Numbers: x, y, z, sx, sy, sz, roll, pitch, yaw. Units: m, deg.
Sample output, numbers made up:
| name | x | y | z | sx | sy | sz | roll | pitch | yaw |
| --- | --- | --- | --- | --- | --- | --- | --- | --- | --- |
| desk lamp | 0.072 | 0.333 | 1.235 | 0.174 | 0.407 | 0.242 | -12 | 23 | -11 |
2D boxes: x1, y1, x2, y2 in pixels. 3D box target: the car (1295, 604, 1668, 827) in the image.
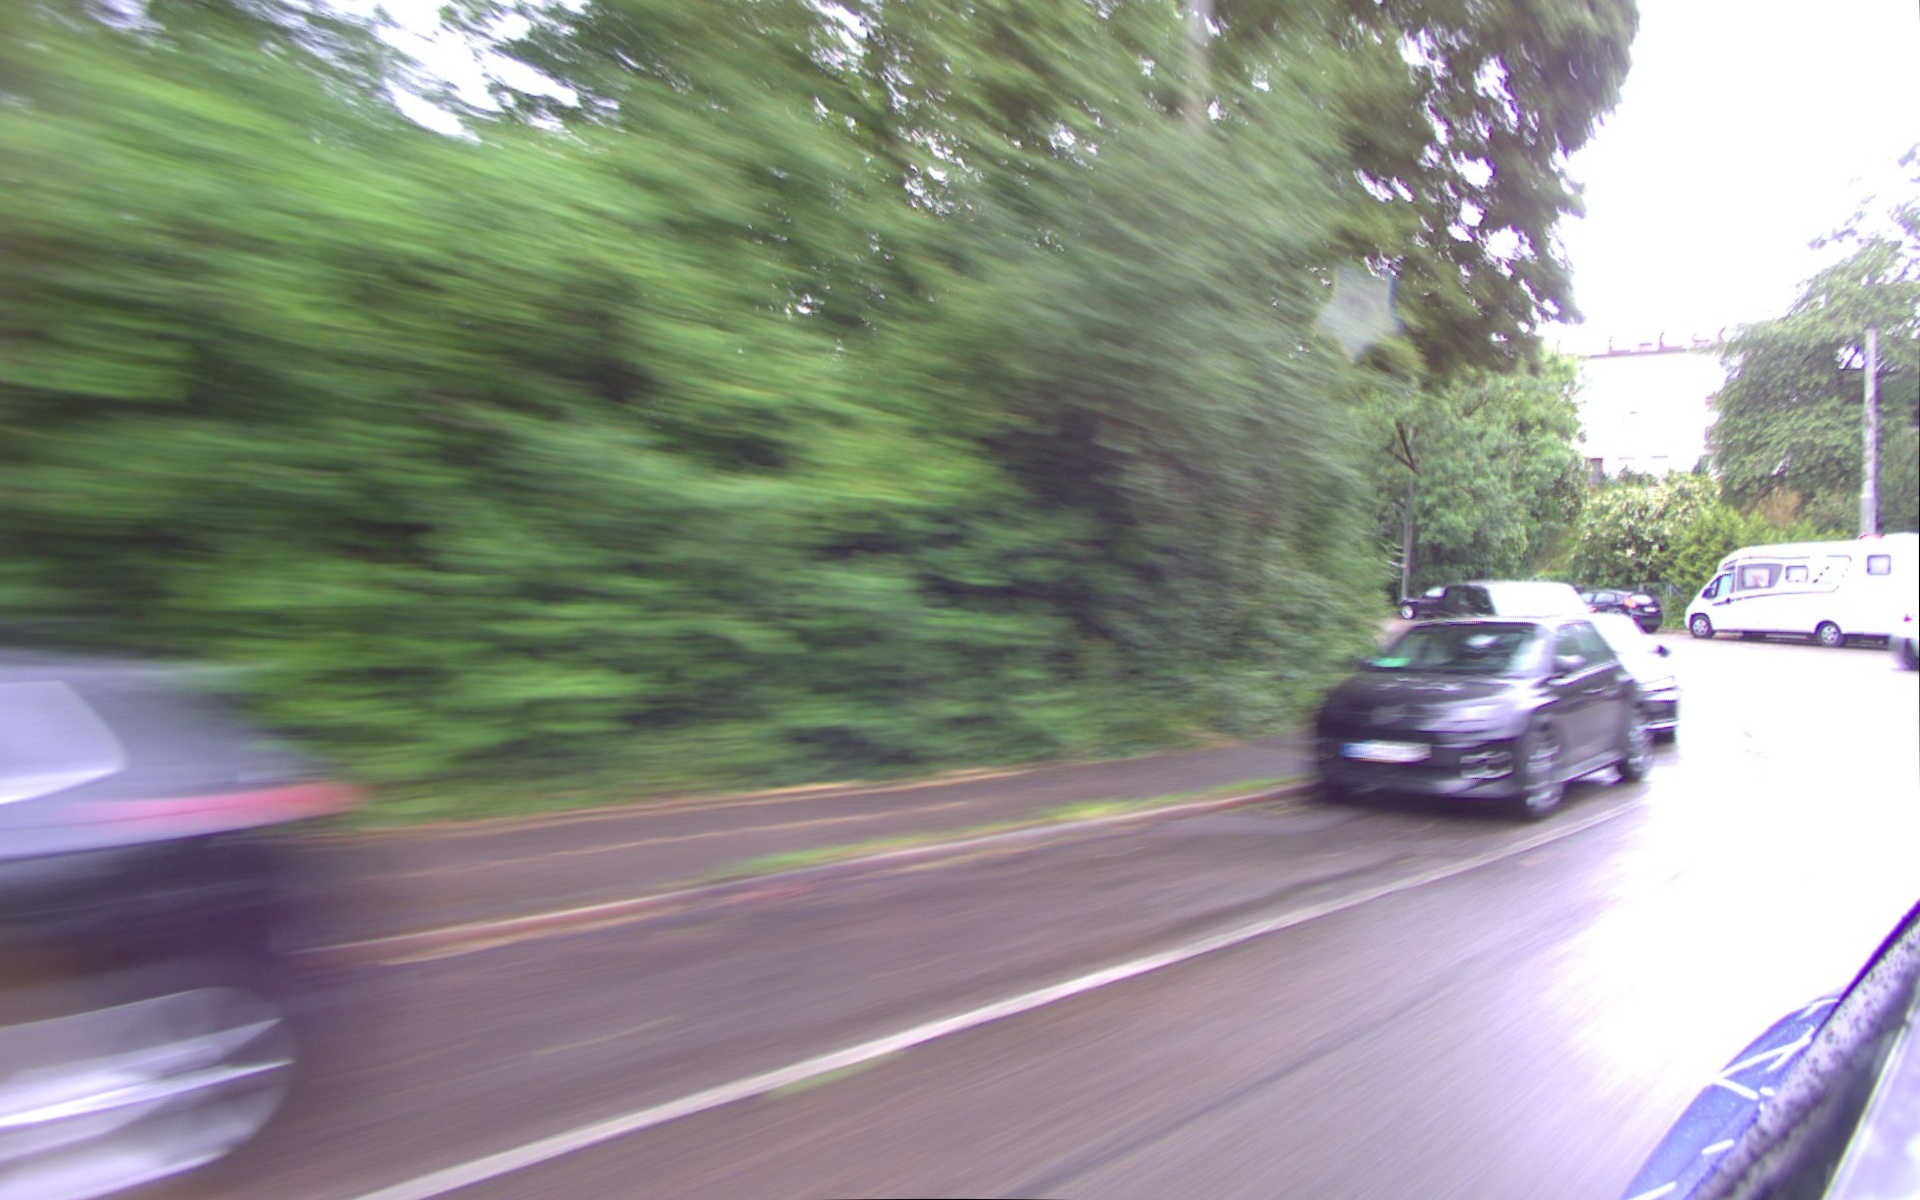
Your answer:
| name | x | y | z | sx | sy | sz | roll | pitch | yaw |
| --- | --- | --- | --- | --- | --- | --- | --- | --- | --- |
| car | 4.615 | 0.811 | 8.744 | 3.680 | 1.507 | 1.628 | 0 | -2 | -42 |

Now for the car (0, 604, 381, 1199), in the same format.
| name | x | y | z | sx | sy | sz | roll | pitch | yaw |
| --- | --- | --- | --- | --- | --- | --- | --- | --- | --- |
| car | -3.526 | 0.710 | 2.223 | 3.750 | 1.407 | 1.594 | 1 | -2 | -36 |

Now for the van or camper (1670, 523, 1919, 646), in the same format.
| name | x | y | z | sx | sy | sz | roll | pitch | yaw |
| --- | --- | --- | --- | --- | --- | --- | --- | --- | --- |
| van or camper | 24.160 | -0.459 | 28.474 | 2.409 | 3.004 | 7.536 | 0 | 1 | -6 |

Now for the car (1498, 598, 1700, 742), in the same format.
| name | x | y | z | sx | sy | sz | roll | pitch | yaw |
| --- | --- | --- | --- | --- | --- | --- | --- | --- | --- |
| car | 8.312 | 0.775 | 13.535 | 1.890 | 1.507 | 4.825 | -2 | 0 | 29 |

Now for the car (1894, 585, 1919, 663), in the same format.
| name | x | y | z | sx | sy | sz | roll | pitch | yaw |
| --- | --- | --- | --- | --- | --- | --- | --- | --- | --- |
| car | 19.100 | 0.479 | 18.216 | 1.583 | 1.514 | 4.016 | 0 | 0 | 14 |

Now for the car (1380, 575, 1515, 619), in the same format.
| name | x | y | z | sx | sy | sz | roll | pitch | yaw |
| --- | --- | --- | --- | --- | --- | --- | --- | --- | --- |
| car | 18.955 | -0.160 | 39.582 | 1.960 | 1.481 | 4.378 | 0 | 3 | -30 |

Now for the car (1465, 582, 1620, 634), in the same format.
| name | x | y | z | sx | sy | sz | roll | pitch | yaw |
| --- | --- | --- | --- | --- | --- | --- | --- | --- | --- |
| car | 18.199 | 0.202 | 31.866 | 1.753 | 1.402 | 4.348 | 1 | 2 | -12 |

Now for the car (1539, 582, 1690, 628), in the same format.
| name | x | y | z | sx | sy | sz | roll | pitch | yaw |
| --- | --- | --- | --- | --- | --- | --- | --- | --- | --- |
| car | 22.693 | 0.131 | 35.288 | 1.874 | 1.429 | 4.142 | 2 | 1 | -16 |

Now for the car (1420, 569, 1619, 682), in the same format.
| name | x | y | z | sx | sy | sz | roll | pitch | yaw |
| --- | --- | --- | --- | --- | --- | --- | --- | --- | --- |
| car | 10.718 | 0.406 | 19.862 | 1.969 | 1.910 | 5.019 | -2 | 1 | 12 |
